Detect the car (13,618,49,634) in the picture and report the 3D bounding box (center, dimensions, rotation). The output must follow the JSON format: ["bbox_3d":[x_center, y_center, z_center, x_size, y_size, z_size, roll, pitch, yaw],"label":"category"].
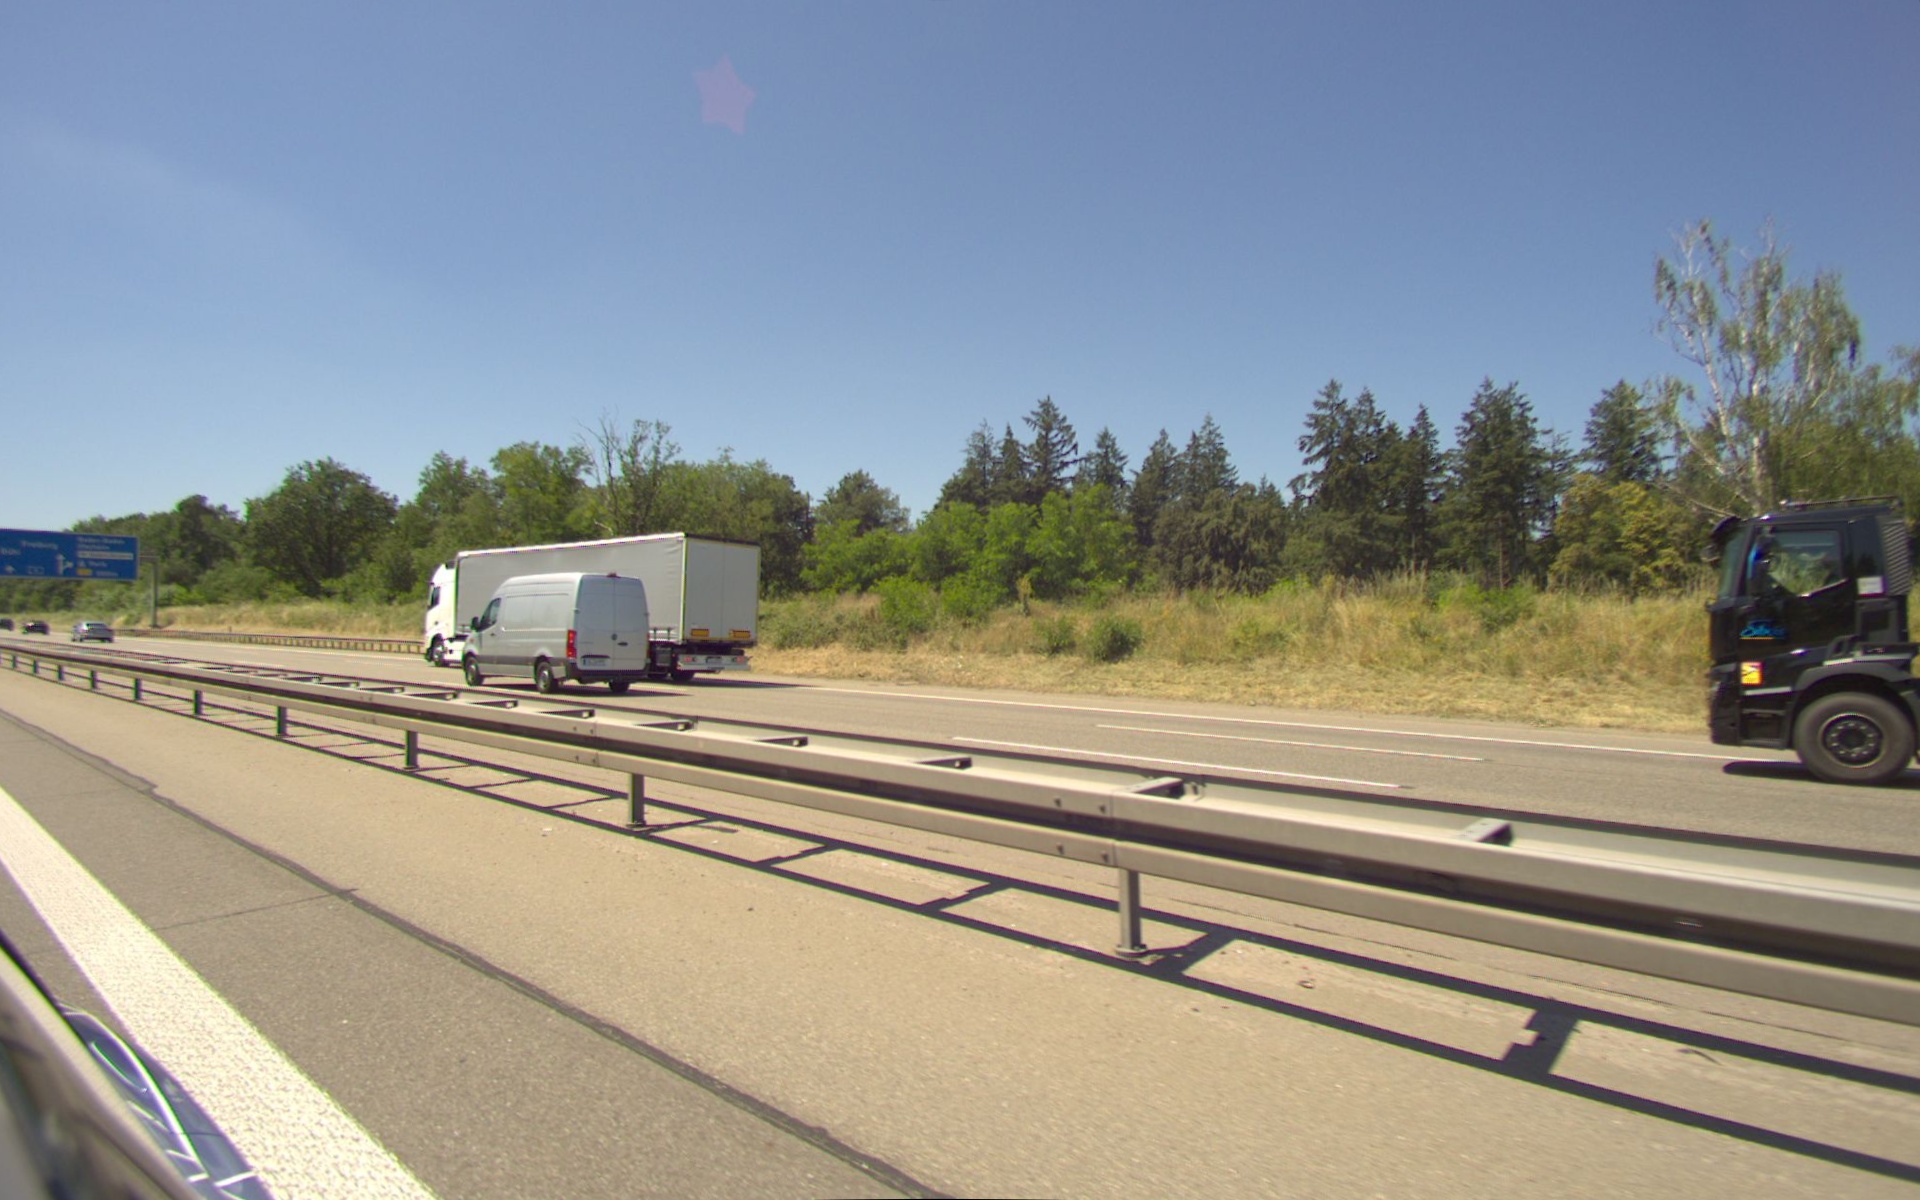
[{"bbox_3d":[-92.600,2.626,100.864,5.287,1.537,1.941,-1,-3,41],"label":"car"}]

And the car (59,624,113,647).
[{"bbox_3d":[-57.952,2.363,67.075,5.287,1.440,1.941,-1,-3,41],"label":"car"}]

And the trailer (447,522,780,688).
[{"bbox_3d":[-11.408,0.305,31.677,14.119,4.230,3.122,-1,-4,41],"label":"trailer"}]

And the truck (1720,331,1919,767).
[{"bbox_3d":[14.612,-0.524,9.134,12.181,4.660,3.341,-1,-4,41],"label":"truck"}]

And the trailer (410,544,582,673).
[{"bbox_3d":[-16.724,0.403,36.326,6.323,4.230,3.122,-1,-4,41],"label":"trailer"}]

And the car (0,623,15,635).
[{"bbox_3d":[-125.138,3.771,132.202,4.947,1.566,1.812,-1,-3,41],"label":"car"}]

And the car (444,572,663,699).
[{"bbox_3d":[-9.579,0.817,23.503,6.387,2.590,1.972,-1,-4,41],"label":"car"}]
